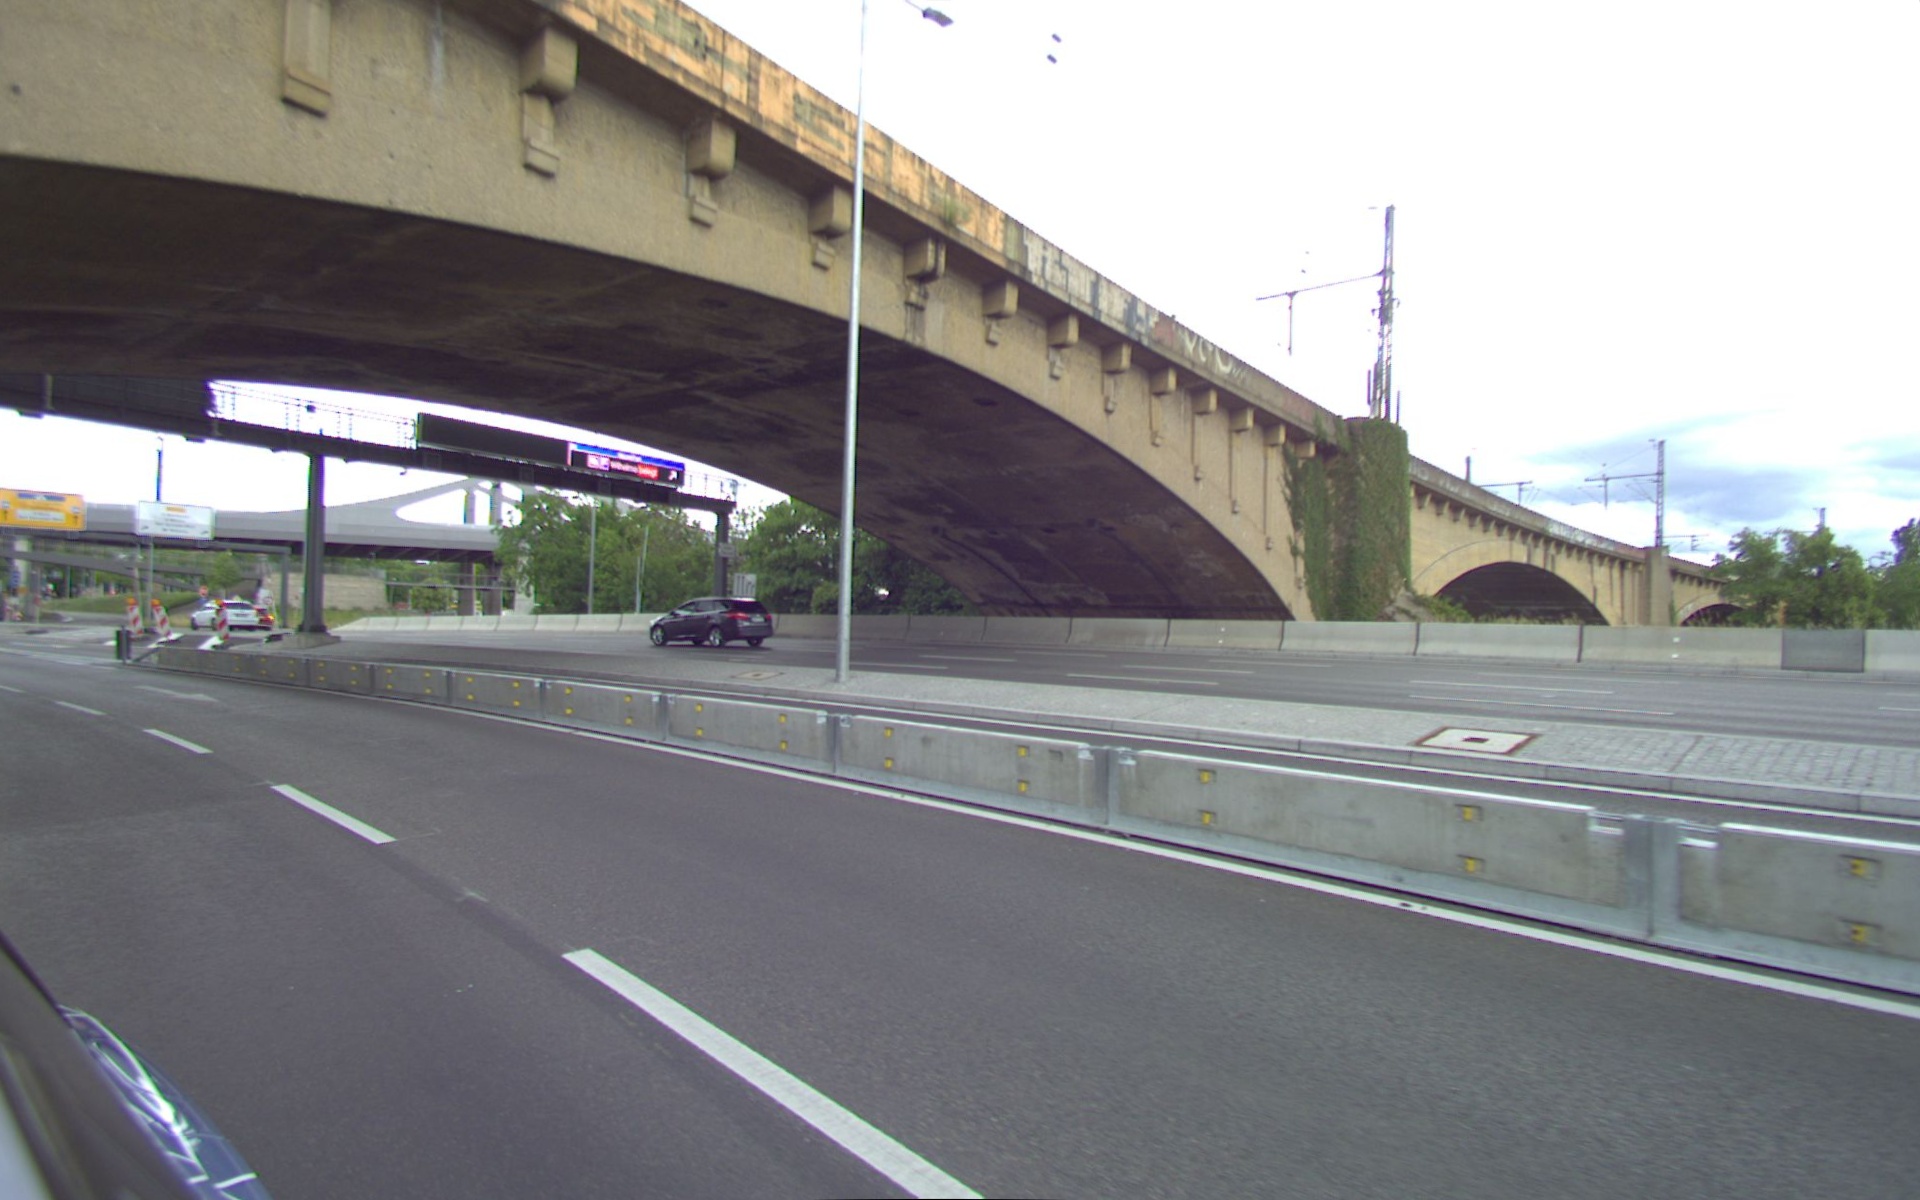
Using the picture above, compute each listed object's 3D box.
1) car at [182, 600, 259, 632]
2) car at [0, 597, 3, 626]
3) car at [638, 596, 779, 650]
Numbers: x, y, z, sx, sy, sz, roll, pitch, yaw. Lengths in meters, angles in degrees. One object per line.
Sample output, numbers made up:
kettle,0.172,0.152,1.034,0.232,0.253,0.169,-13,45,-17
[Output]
car,-36.481,0.765,49.872,4.392,1.548,1.821,0,0,36
car,-84.922,0.992,87.390,6.183,2.509,2.269,0,0,36
car,-7.735,0.658,30.976,4.390,1.548,1.802,0,0,35
